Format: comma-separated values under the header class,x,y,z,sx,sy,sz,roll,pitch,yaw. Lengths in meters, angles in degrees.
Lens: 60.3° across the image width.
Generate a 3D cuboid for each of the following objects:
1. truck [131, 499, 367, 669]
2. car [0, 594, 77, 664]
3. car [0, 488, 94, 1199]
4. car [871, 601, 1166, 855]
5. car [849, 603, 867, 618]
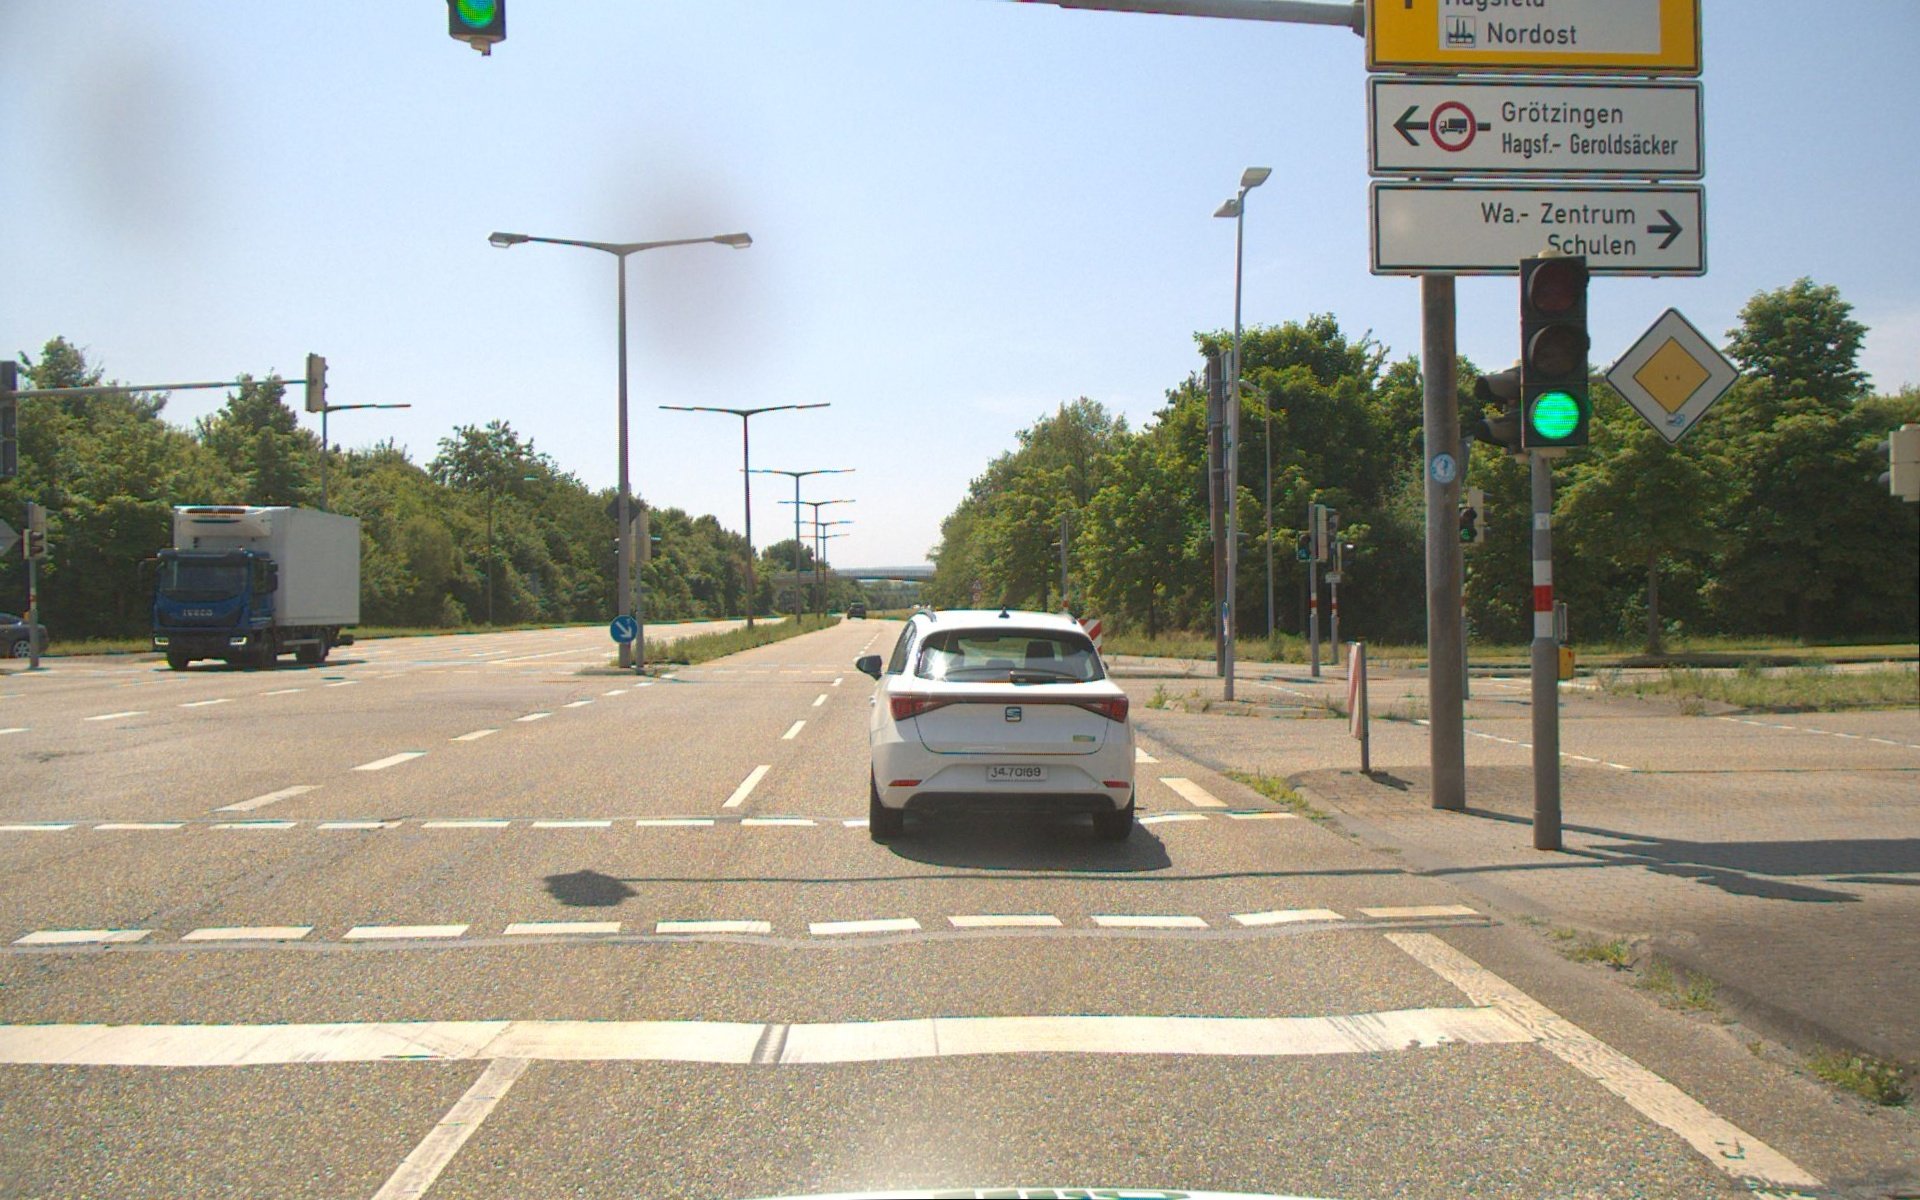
class,x,y,z,sx,sy,sz,roll,pitch,yaw
truck,-16.509,-0.353,38.996,2.633,3.633,7.264,0,0,-2
car,-25.340,0.738,42.148,4.869,1.762,1.806,0,0,-35
car,-2.853,0.603,1.523,1.767,1.691,4.642,0,0,-2
car,0.300,0.775,11.500,1.699,1.453,3.693,1,-1,-2
car,-11.742,1.208,190.790,1.817,1.739,4.000,-1,0,0
